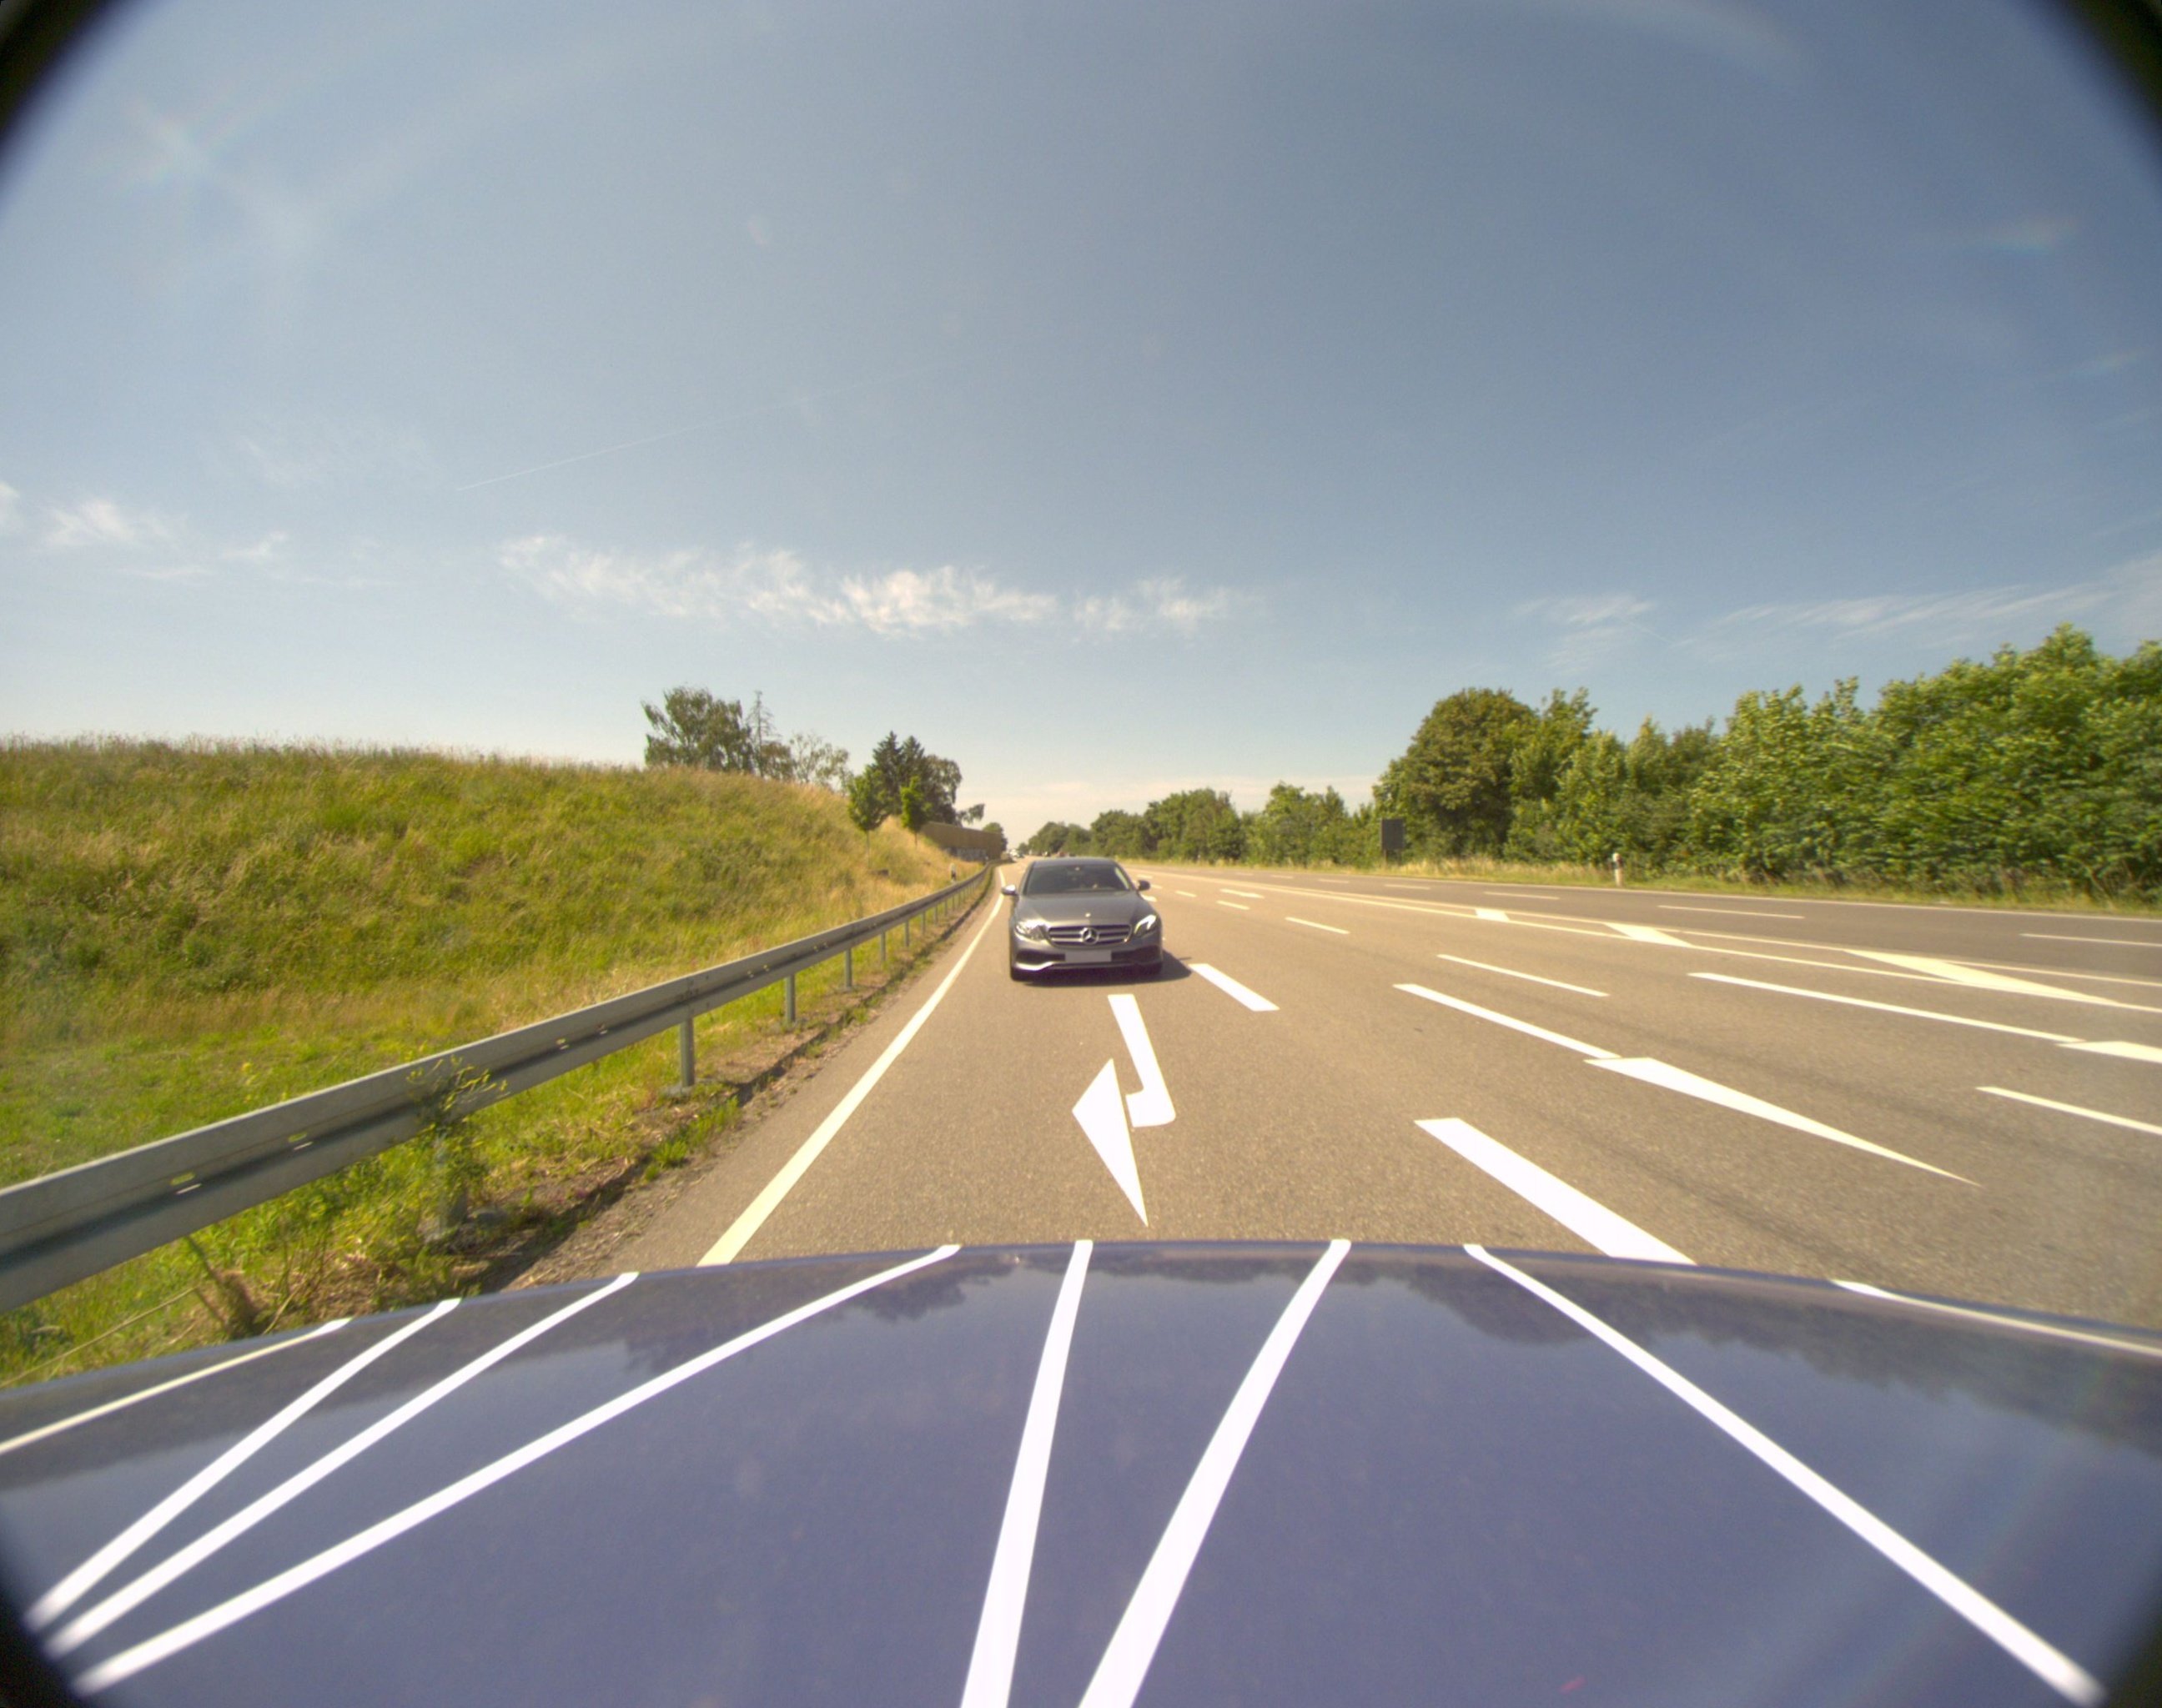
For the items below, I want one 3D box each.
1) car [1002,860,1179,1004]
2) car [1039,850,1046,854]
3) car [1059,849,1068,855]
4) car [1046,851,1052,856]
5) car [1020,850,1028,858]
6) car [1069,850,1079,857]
[{"bbox_3d":[-0.116,0.869,10.675,1.895,1.439,4.522,-2,1,-7],"label":"car"},{"bbox_3d":[-12.954,-0.593,254.053,1.811,1.272,4.762,-2,1,-8],"label":"car"},{"bbox_3d":[-4.565,-0.469,198.866,2.034,1.630,4.565,0,1,-7],"label":"car"},{"bbox_3d":[-9.179,-0.193,217.701,1.650,1.479,3.556,-2,1,-7],"label":"car"},{"bbox_3d":[-13.940,-0.016,186.645,1.802,1.674,3.997,-2,2,-5],"label":"car"},{"bbox_3d":[-1.623,-0.067,170.686,1.884,1.390,4.528,-2,1,-6],"label":"car"}]
